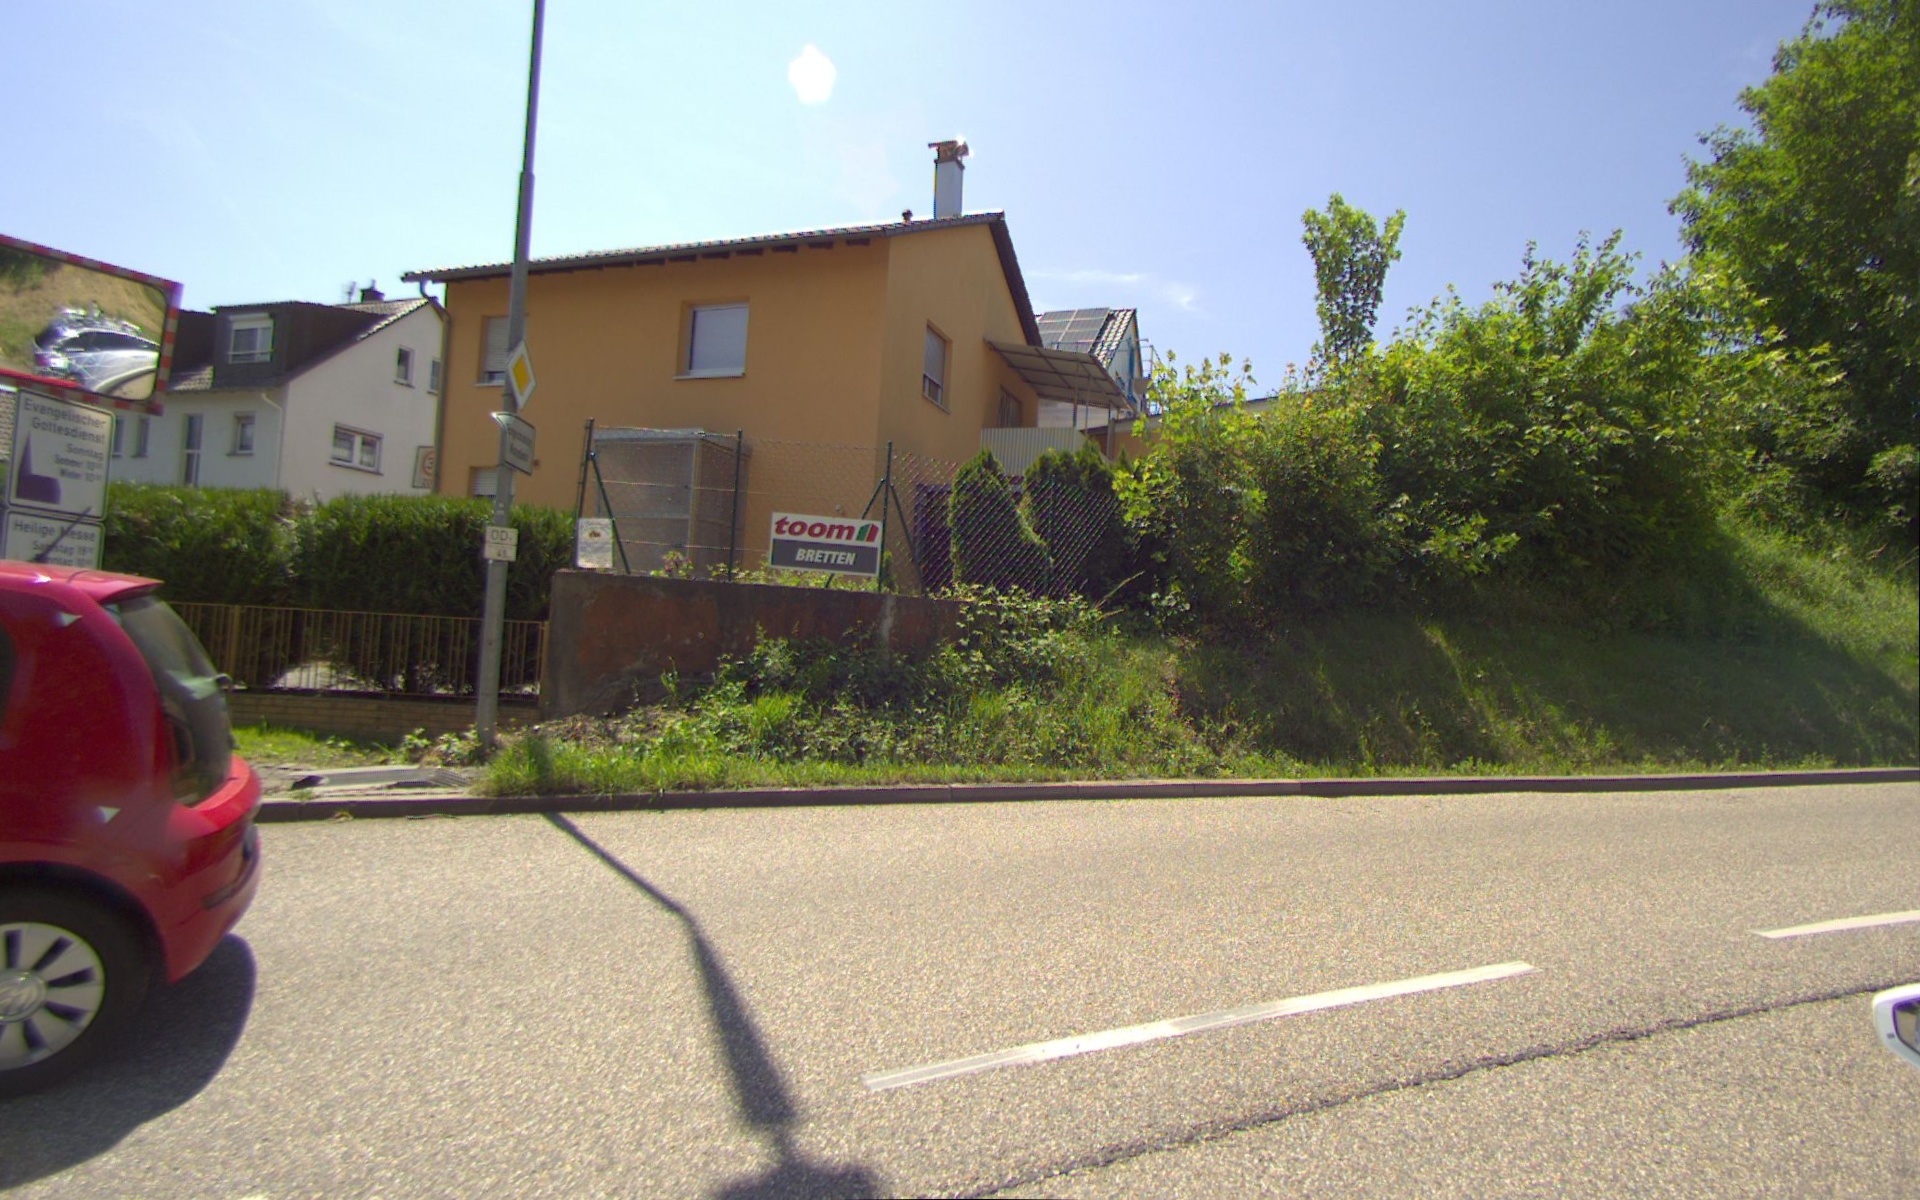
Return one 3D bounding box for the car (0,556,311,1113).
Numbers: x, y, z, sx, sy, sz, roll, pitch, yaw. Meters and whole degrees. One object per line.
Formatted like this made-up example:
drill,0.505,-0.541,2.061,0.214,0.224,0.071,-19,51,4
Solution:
car,-3.939,0.577,2.726,3.597,1.478,1.646,2,1,-33
